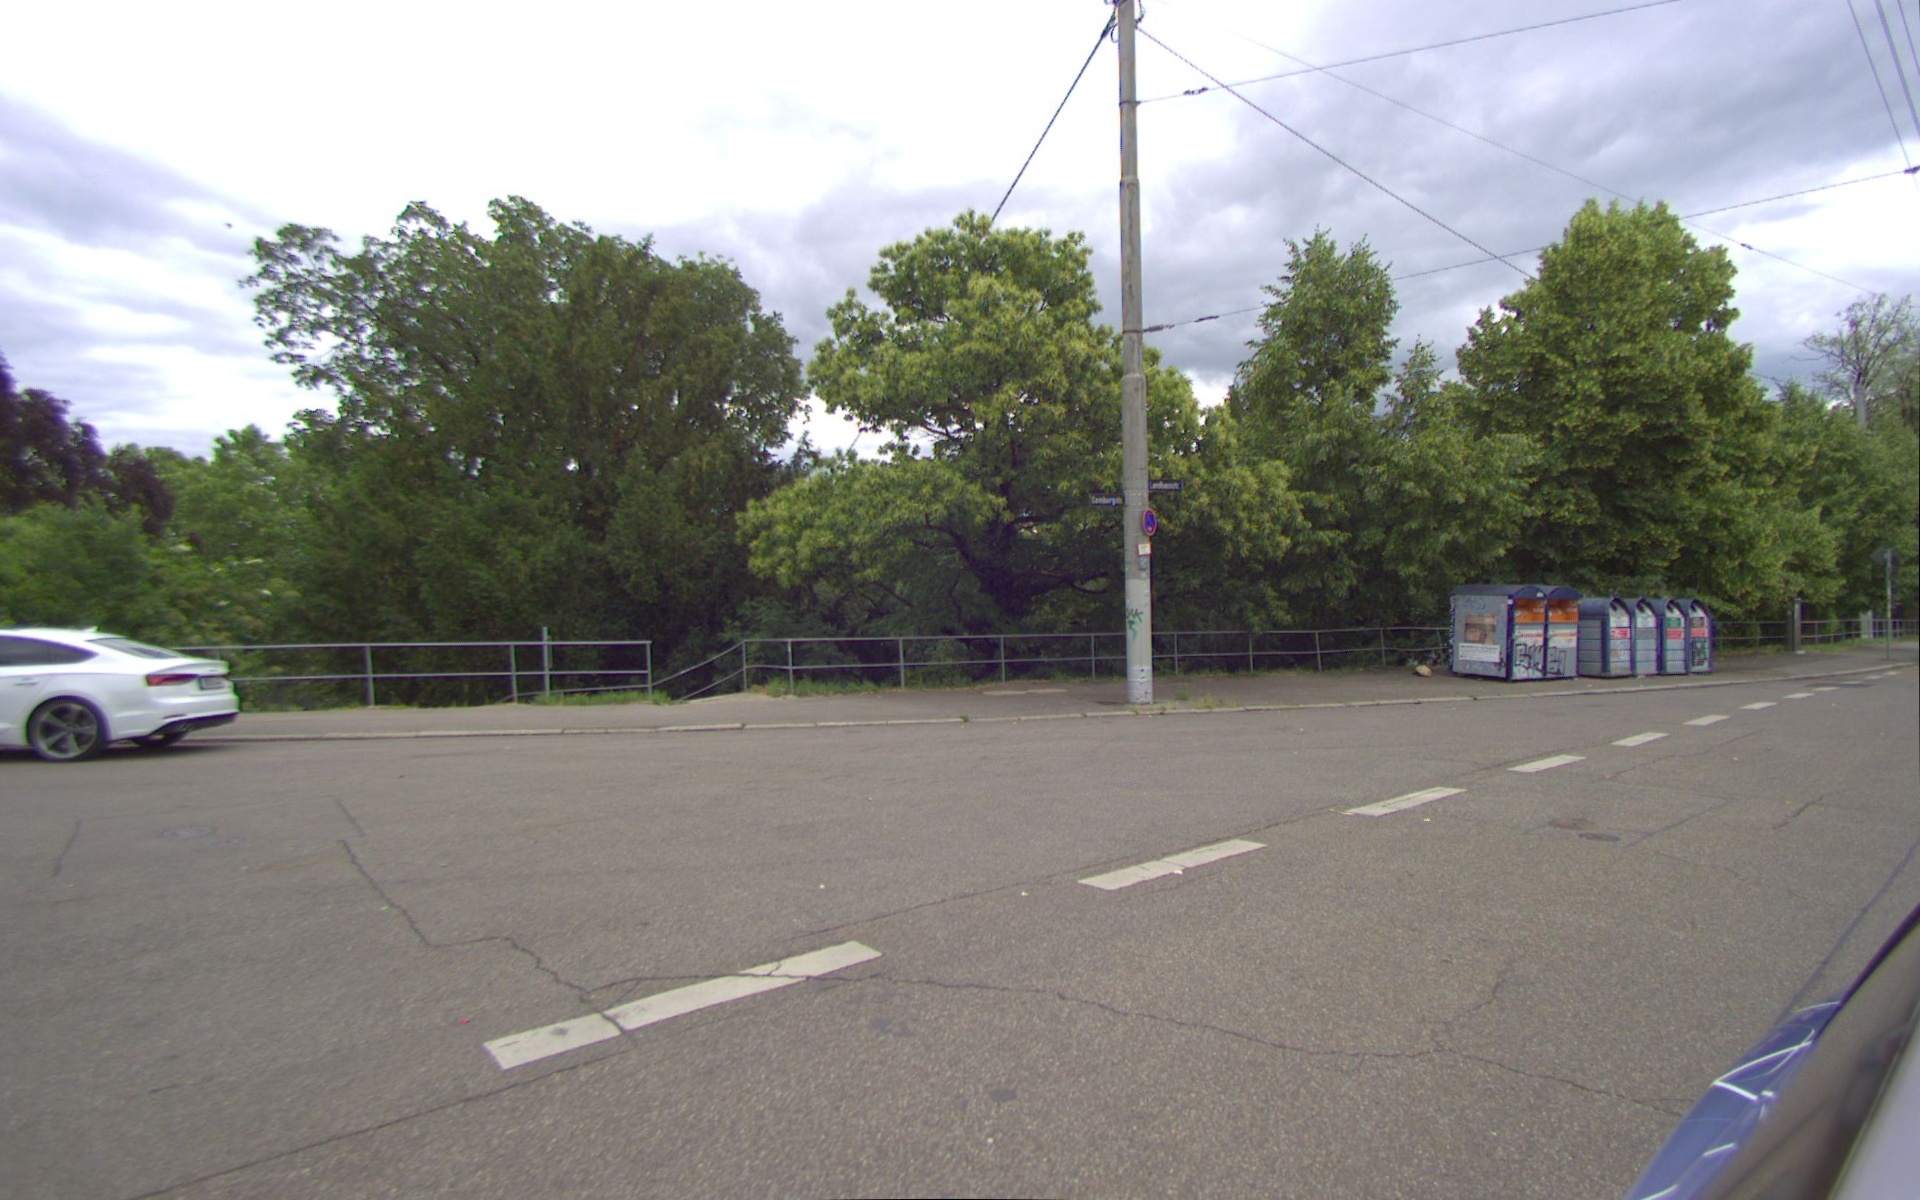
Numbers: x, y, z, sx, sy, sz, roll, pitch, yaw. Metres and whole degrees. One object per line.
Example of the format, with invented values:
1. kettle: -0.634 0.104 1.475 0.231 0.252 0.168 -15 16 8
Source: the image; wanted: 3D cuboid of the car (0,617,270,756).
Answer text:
1. car: -10.524 0.921 11.084 4.503 1.399 1.903 0 -3 -13
